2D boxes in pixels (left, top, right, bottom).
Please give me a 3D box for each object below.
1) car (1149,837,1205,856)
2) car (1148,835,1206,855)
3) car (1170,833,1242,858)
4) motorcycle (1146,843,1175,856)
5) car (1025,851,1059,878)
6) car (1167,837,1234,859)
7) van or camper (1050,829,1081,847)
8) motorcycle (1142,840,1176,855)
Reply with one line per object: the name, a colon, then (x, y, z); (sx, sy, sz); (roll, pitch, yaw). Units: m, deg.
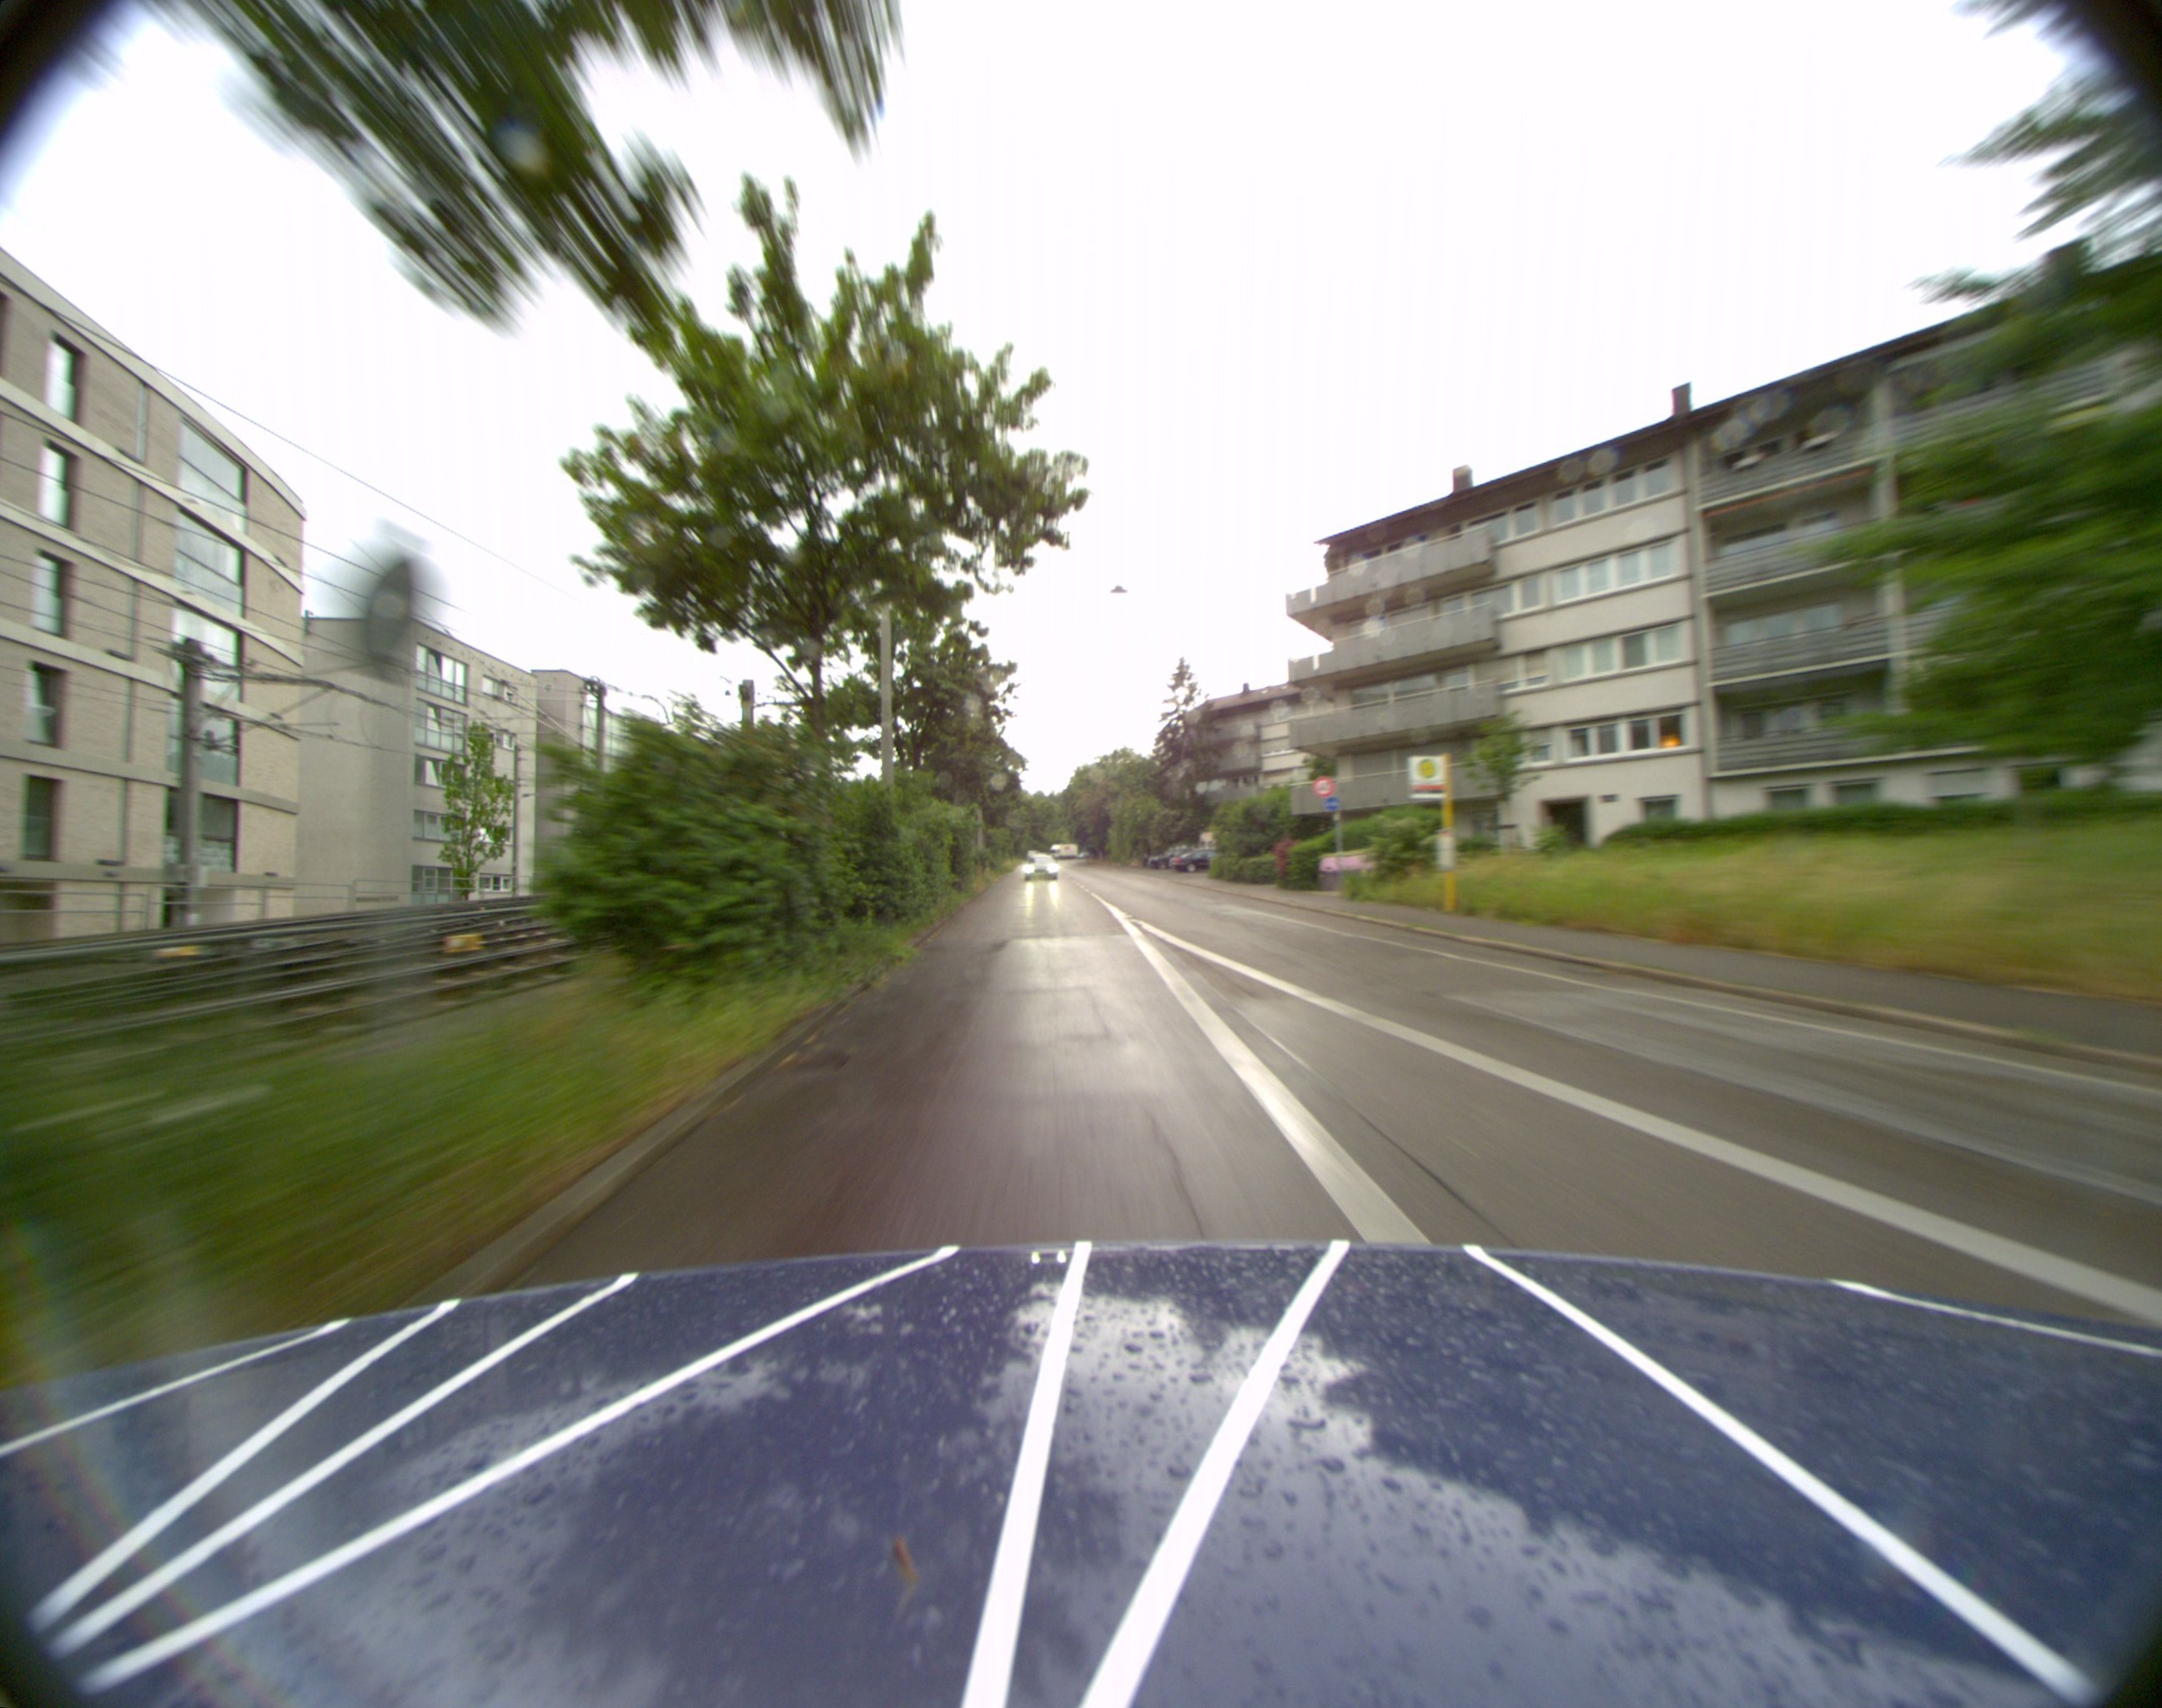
car: (8.084, -0.629, 64.438); (4.441, 1.519, 1.774); (-1, 1, -3)
car: (7.736, -0.766, 61.627); (4.441, 1.519, 1.774); (-1, 1, -3)
car: (8.459, -0.605, 51.624); (4.497, 1.481, 1.847); (-2, 2, -2)
motorcycle: (6.891, -0.405, 65.839); (2.460, 1.102, 0.661); (-1, 2, 4)
car: (-2.348, 0.627, 45.879); (1.862, 1.469, 3.999); (-4, -1, -3)
car: (8.472, -0.435, 54.011); (4.442, 1.519, 1.773); (-1, 1, -5)
van or camper: (-3.525, -3.649, 174.639); (2.882, 3.915, 8.159); (0, 2, 33)
motorcycle: (6.930, -0.550, 67.604); (2.807, 1.265, 1.280); (-1, 2, 12)
